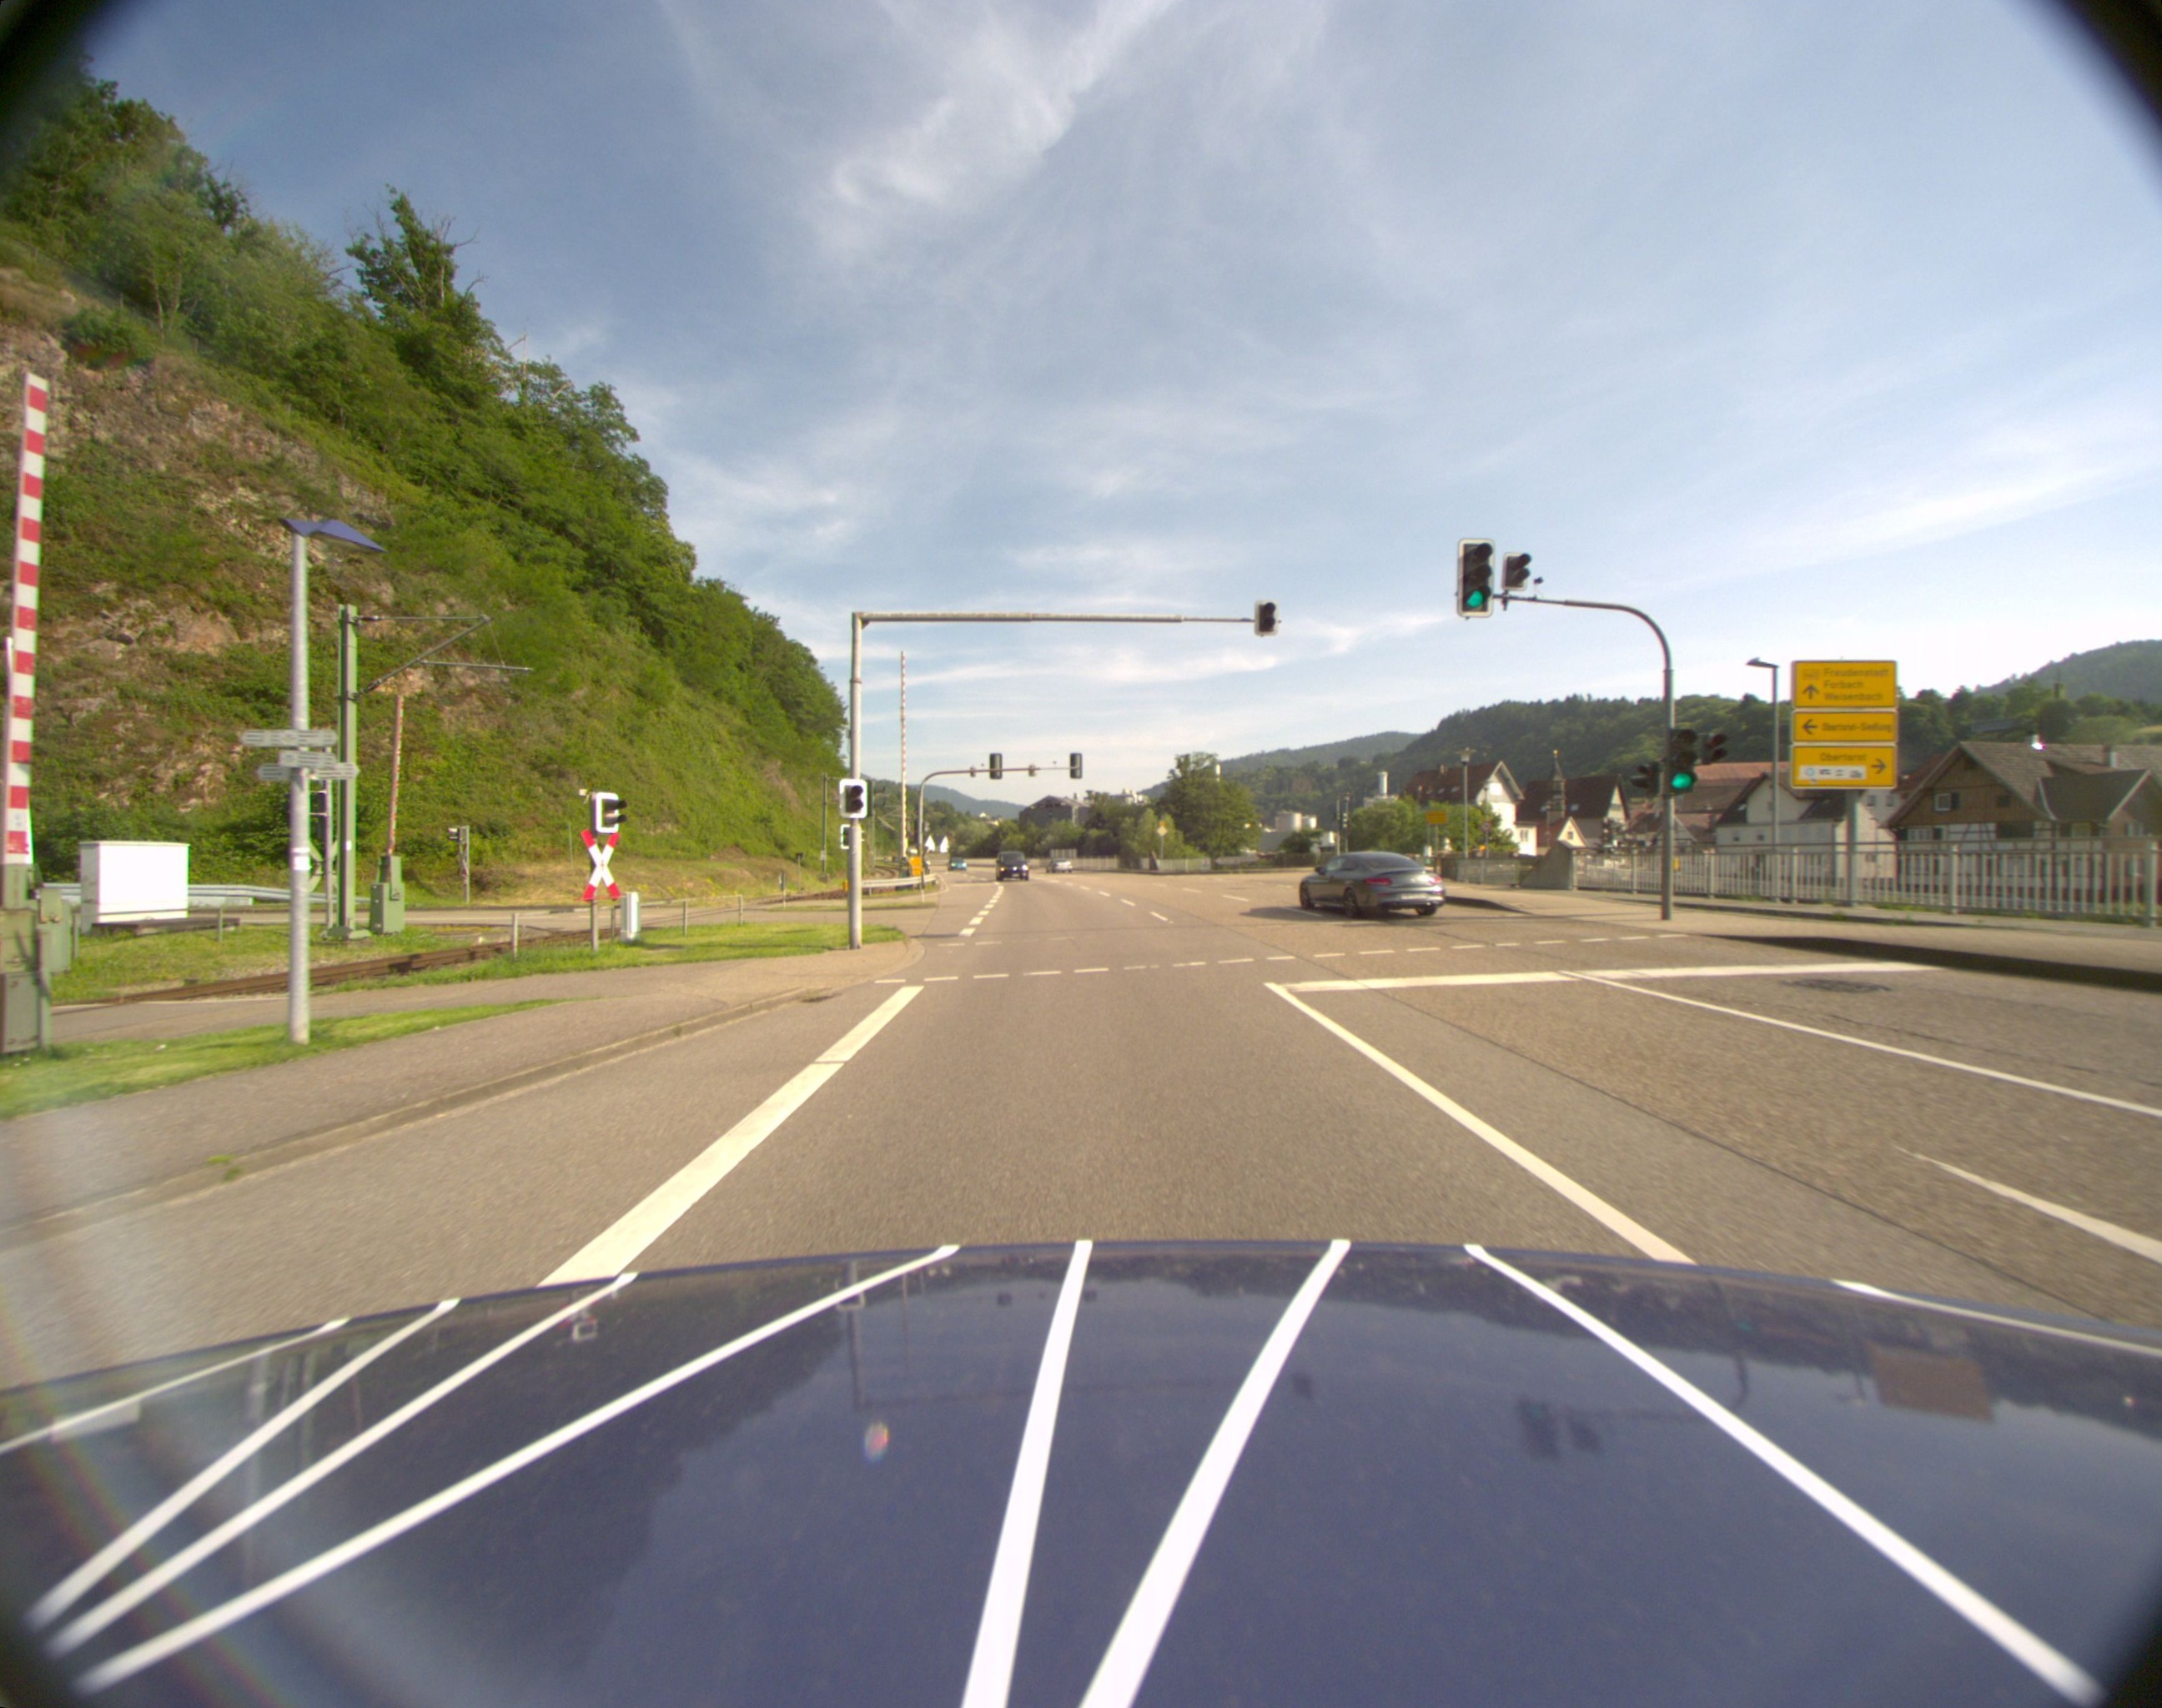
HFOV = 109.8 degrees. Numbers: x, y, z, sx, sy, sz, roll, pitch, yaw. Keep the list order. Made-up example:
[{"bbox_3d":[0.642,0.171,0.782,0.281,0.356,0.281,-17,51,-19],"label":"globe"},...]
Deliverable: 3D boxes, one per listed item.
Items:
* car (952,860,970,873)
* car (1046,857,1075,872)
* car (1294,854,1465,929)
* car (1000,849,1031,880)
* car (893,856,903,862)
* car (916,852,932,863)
[{"bbox_3d":[-14.165,1.457,89.326,1.770,1.452,3.571,1,1,-14],"label":"car"},{"bbox_3d":[-1.884,0.939,68.878,1.651,1.224,4.088,-1,0,-15],"label":"car"},{"bbox_3d":[6.402,0.718,16.939,1.776,1.369,4.642,-2,0,-3],"label":"car"},{"bbox_3d":[-4.378,0.683,50.526,1.910,1.868,4.345,-3,0,-6],"label":"car"},{"bbox_3d":[-49.424,1.433,205.039,1.825,1.637,4.603,0,0,-21],"label":"car"},{"bbox_3d":[-25.698,0.506,124.543,2.002,1.783,3.993,-1,0,-19],"label":"car"}]
